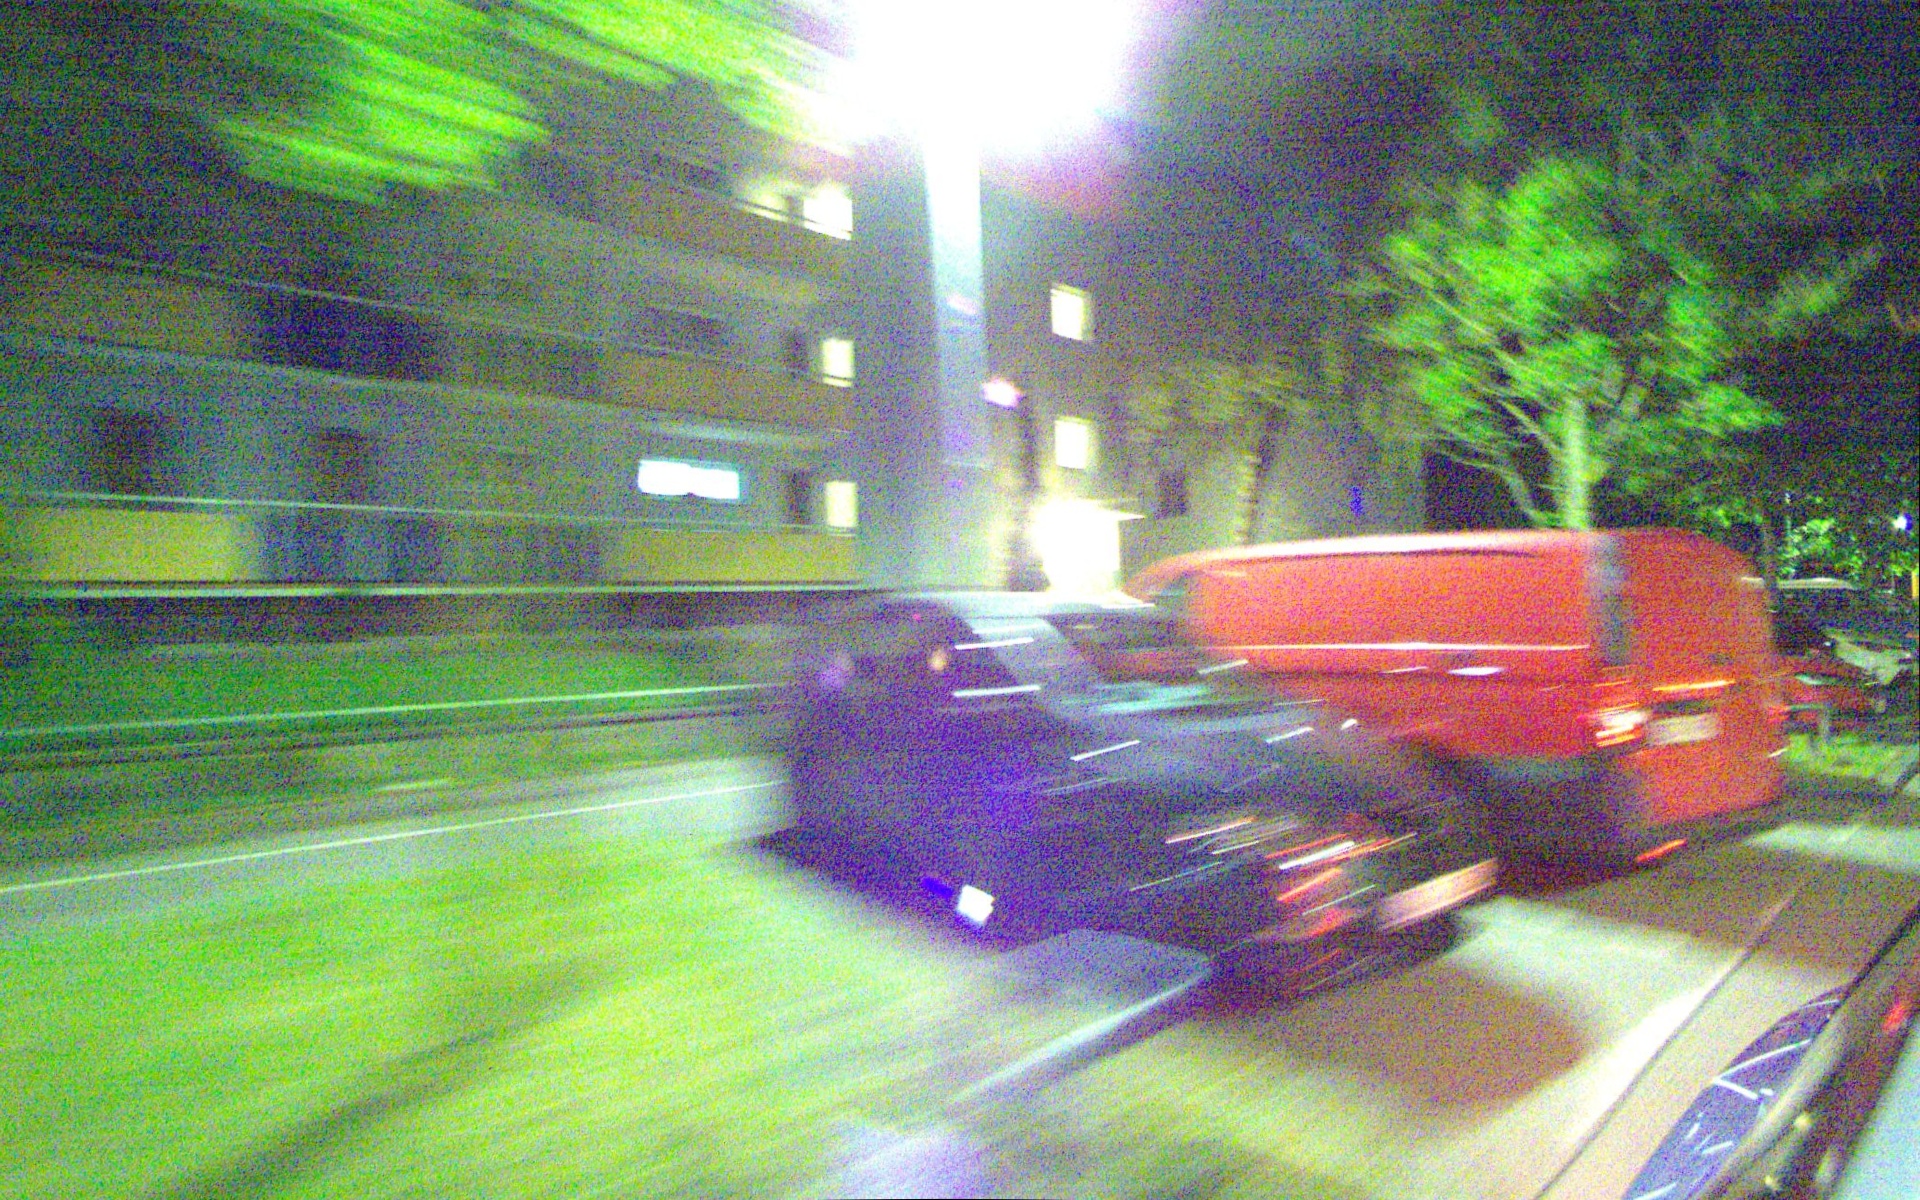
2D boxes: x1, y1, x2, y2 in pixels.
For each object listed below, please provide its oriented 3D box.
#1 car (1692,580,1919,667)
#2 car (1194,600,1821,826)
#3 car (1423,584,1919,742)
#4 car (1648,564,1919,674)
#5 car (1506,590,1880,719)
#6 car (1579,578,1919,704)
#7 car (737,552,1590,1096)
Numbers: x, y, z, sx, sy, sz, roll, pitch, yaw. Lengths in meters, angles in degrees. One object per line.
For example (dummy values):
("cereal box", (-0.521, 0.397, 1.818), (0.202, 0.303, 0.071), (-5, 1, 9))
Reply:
("car", (20.291, 0.518, 23.369), (2.221, 1.868, 5.150), (0, -1, -42))
("car", (4.417, 0.746, 8.793), (1.900, 1.438, 4.407), (0, -1, -39))
("car", (8.582, 0.689, 12.620), (2.068, 1.577, 4.664), (0, -2, -38))
("car", (18.129, 0.398, 21.738), (2.221, 2.123, 5.150), (0, -1, -42))
("car", (10.395, 0.718, 14.589), (1.965, 1.577, 3.993), (0, -2, -40))
("car", (12.638, 0.613, 16.134), (1.962, 1.719, 4.288), (0, -2, -35))
("car", (0.606, 0.665, 5.103), (1.950, 1.571, 3.926), (0, -1, -37))
